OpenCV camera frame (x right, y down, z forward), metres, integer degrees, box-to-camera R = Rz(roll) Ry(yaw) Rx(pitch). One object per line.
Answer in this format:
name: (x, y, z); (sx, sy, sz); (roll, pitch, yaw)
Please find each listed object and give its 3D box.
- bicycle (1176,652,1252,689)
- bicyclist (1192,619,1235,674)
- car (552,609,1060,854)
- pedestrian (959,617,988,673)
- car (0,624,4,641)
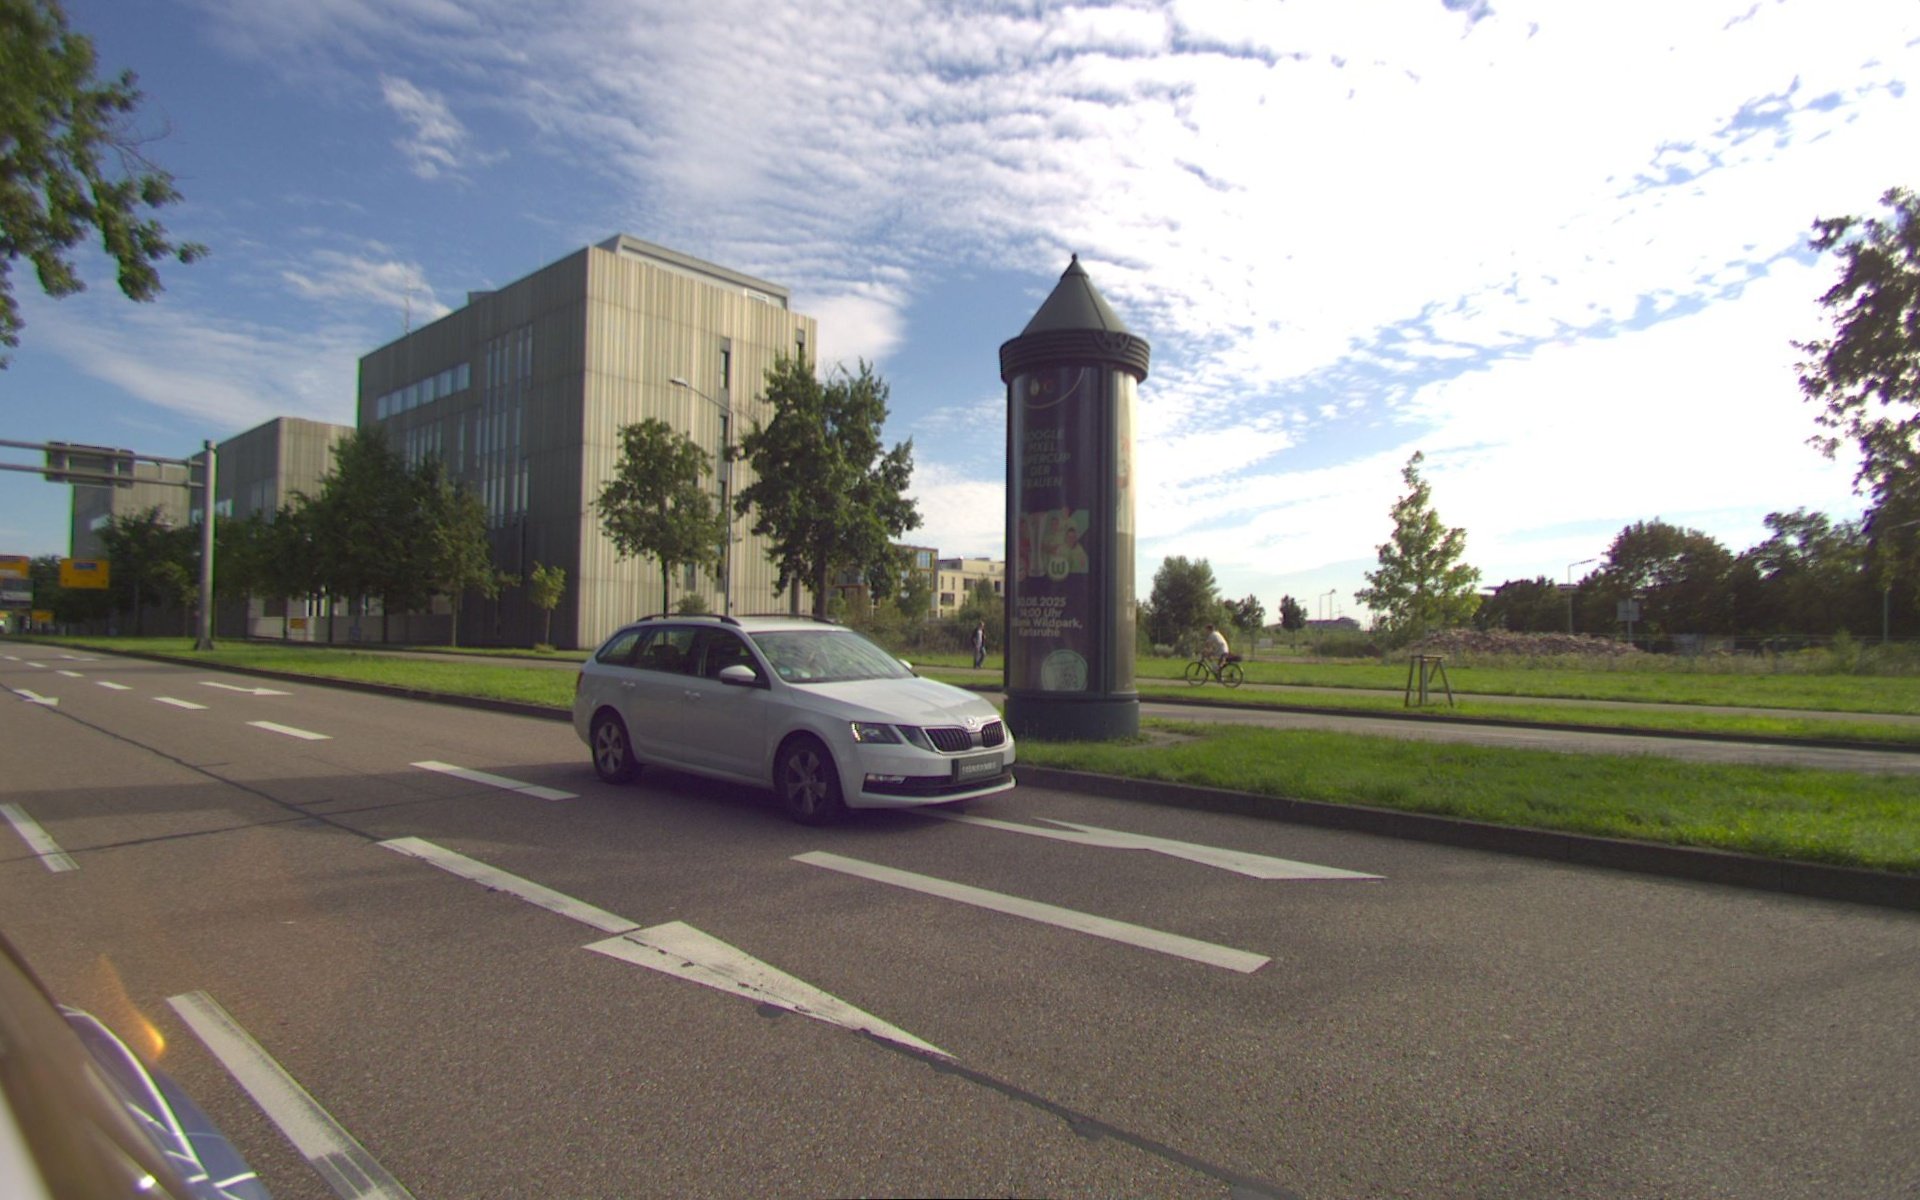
bicycle: (7.234, 1.987, 28.874); (1.910, 0.989, 0.885); (-2, -4, 41)
bicyclist: (7.234, 1.327, 28.923); (0.989, 1.537, 0.698); (-1, -3, 41)
car: (-1.481, 0.852, 8.391); (4.479, 1.510, 1.681); (-1, -1, 41)
pedestrian: (0.500, 1.672, 37.460); (0.867, 2.029, 0.667); (-1, -3, 41)
car: (-115.815, 3.876, 120.880); (3.998, 2.029, 1.973); (-1, -3, 41)
